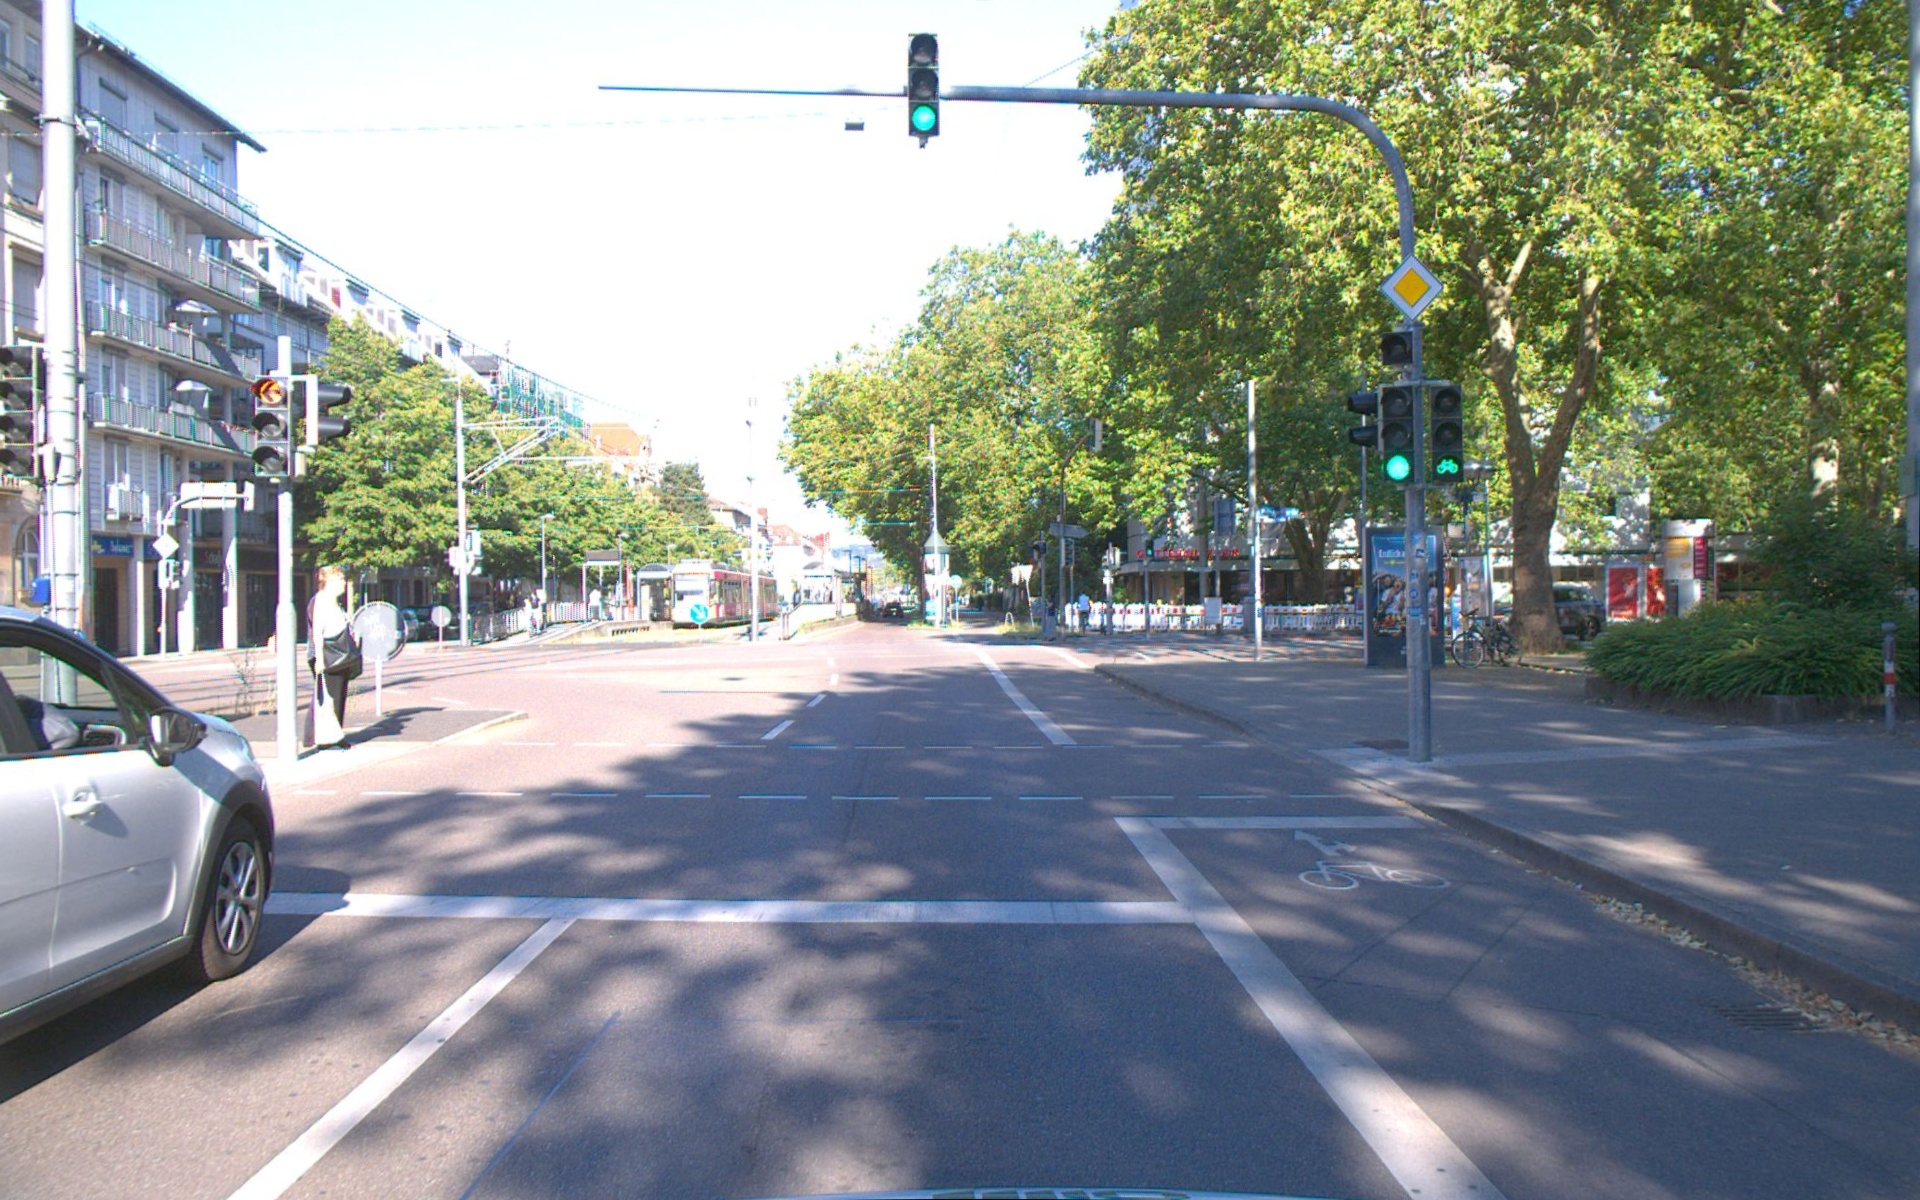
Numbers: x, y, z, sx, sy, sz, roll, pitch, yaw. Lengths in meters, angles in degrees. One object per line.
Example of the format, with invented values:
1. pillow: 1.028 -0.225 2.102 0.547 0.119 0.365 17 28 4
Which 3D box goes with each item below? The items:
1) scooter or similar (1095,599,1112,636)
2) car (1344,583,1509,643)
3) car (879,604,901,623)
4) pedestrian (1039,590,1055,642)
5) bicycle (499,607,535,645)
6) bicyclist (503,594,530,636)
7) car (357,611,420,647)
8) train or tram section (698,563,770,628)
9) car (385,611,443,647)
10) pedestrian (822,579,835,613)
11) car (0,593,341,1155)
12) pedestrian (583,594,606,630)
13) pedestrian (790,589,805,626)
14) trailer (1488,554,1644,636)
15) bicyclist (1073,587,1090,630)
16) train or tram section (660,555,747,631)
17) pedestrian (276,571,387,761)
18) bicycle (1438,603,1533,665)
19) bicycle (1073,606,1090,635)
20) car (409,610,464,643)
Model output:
1. scooter or similar: 5.160 0.623 59.546 0.548 1.279 1.291 -2 -1 6
2. car: 13.733 0.401 48.658 4.504 1.668 1.922 1 0 -24
3. car: -6.375 1.202 151.206 1.953 1.713 3.999 1 0 -2
4. pedestrian: 2.841 0.522 54.009 0.419 1.668 0.612 0 0 -9
5. bicycle: -16.574 0.968 61.865 0.522 1.070 1.830 0 11 10
6. bicyclist: -16.574 0.564 61.843 0.522 1.394 1.022 0 10 10
7. car: -27.166 1.369 78.740 1.770 1.606 3.783 1 0 -2
8. train or tram section: -14.159 -0.239 104.796 2.811 3.750 14.555 -1 0 -1
9. car: -27.333 1.418 82.914 1.770 1.706 3.783 1 0 -2
10. pedestrian: -7.535 -0.241 94.644 0.656 1.935 0.824 1 -1 -3
11. car: -3.415 0.735 5.084 1.599 1.526 3.998 1 0 -2
12. pedestrian: -16.643 0.537 75.291 0.882 1.608 0.957 1 0 -4
13. pedestrian: -7.301 0.320 74.259 0.617 1.638 0.981 1 0 -3
14. trailer: 18.626 -0.180 50.845 4.441 2.415 1.900 -1 0 -24
15. bicyclist: 4.515 0.316 61.279 0.590 1.578 0.860 -1 0 5
16. train or tram section: -13.797 -0.313 90.241 2.811 3.740 14.555 -1 0 -1
17. pedestrian: -5.640 0.579 14.888 0.663 1.649 0.924 1 0 -4
18. bicycle: 9.347 0.595 29.396 1.798 1.072 0.530 0 0 -29
19. bicycle: 4.511 0.755 61.202 0.590 1.044 1.767 -1 0 5
20. car: -27.502 1.352 87.005 1.770 1.664 3.783 1 0 -2
